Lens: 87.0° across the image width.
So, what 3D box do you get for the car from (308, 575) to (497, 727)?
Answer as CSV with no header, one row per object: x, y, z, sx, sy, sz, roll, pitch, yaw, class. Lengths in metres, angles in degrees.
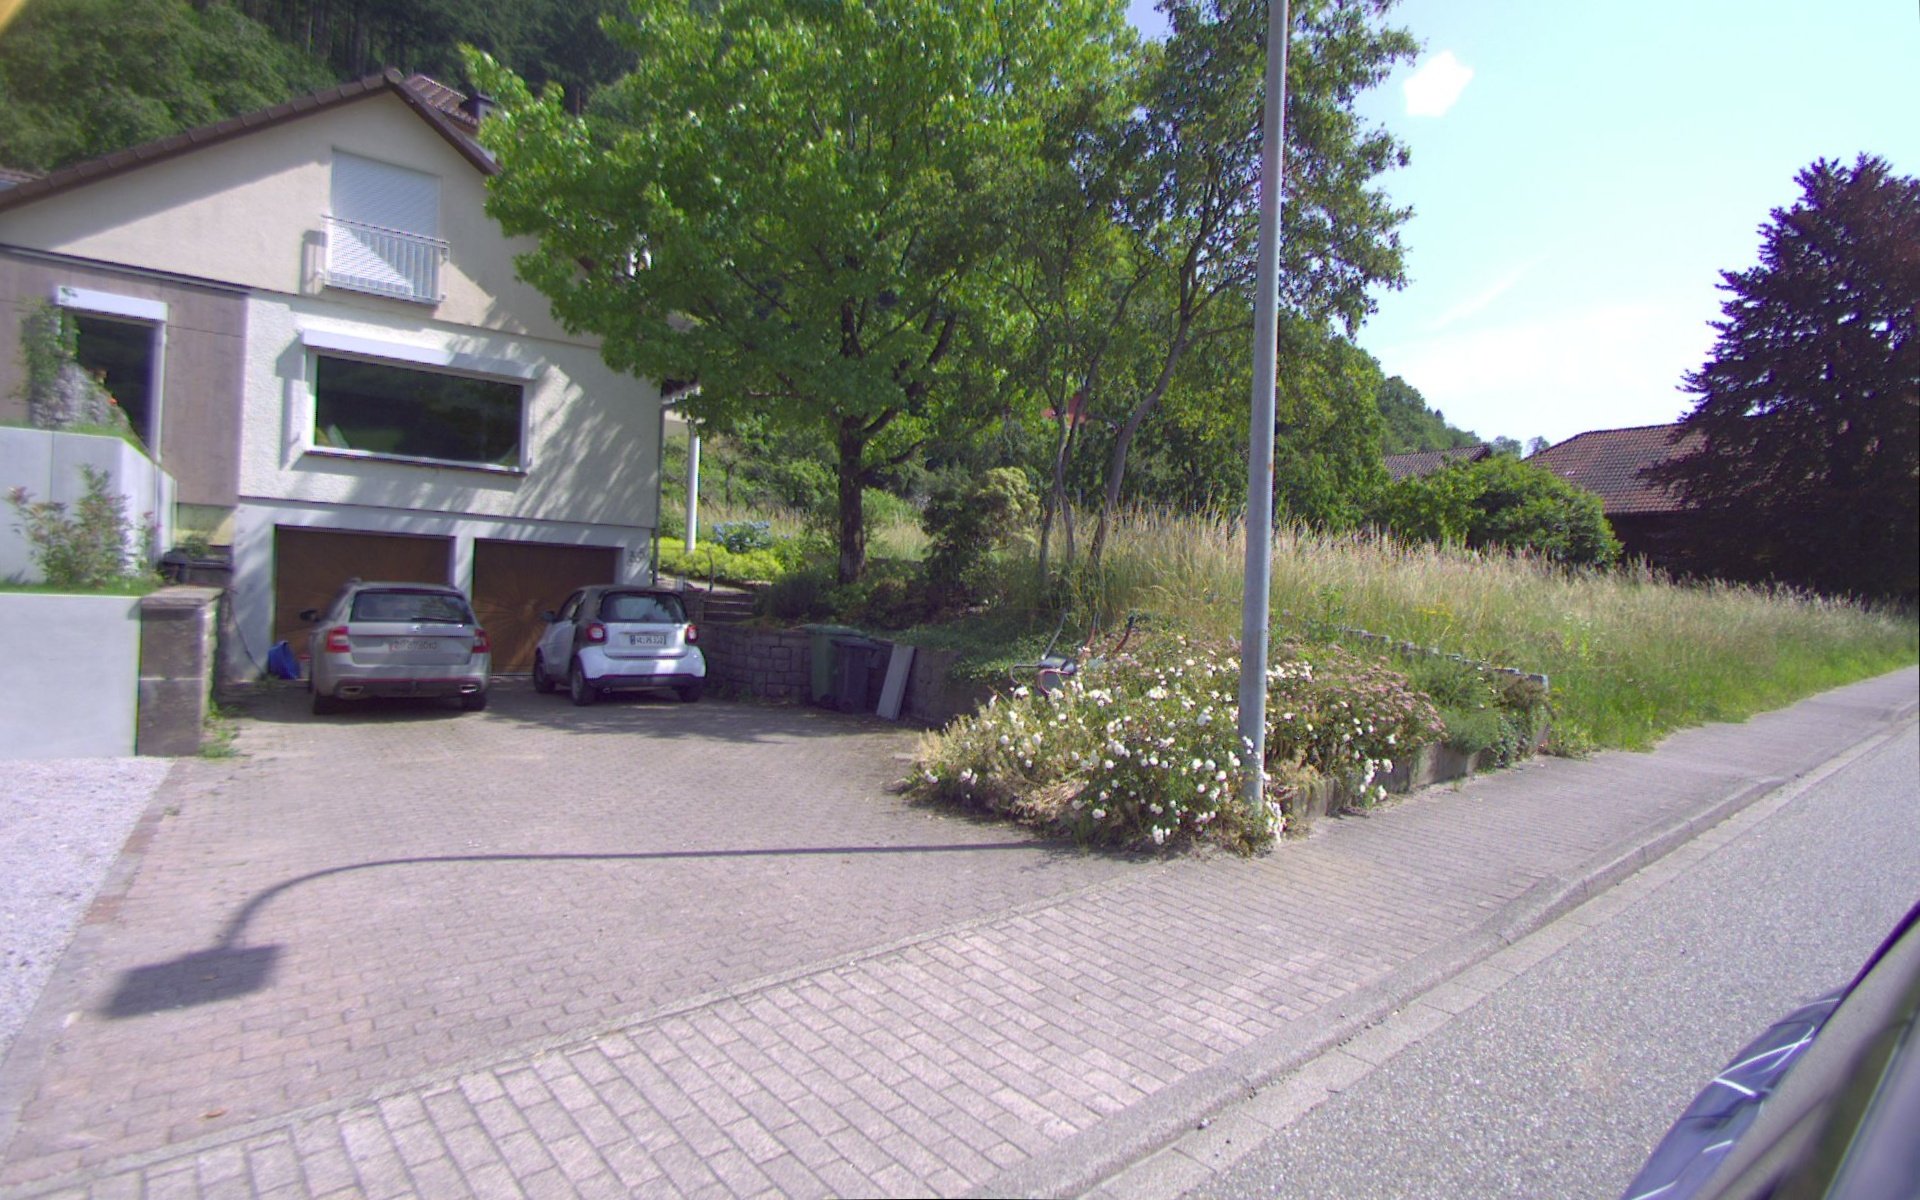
-6.662,0.471,11.916,1.689,1.489,3.748,0,1,-33,car

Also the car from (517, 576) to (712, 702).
-4.879,0.450,14.079,1.721,1.516,3.230,1,1,-35,car
